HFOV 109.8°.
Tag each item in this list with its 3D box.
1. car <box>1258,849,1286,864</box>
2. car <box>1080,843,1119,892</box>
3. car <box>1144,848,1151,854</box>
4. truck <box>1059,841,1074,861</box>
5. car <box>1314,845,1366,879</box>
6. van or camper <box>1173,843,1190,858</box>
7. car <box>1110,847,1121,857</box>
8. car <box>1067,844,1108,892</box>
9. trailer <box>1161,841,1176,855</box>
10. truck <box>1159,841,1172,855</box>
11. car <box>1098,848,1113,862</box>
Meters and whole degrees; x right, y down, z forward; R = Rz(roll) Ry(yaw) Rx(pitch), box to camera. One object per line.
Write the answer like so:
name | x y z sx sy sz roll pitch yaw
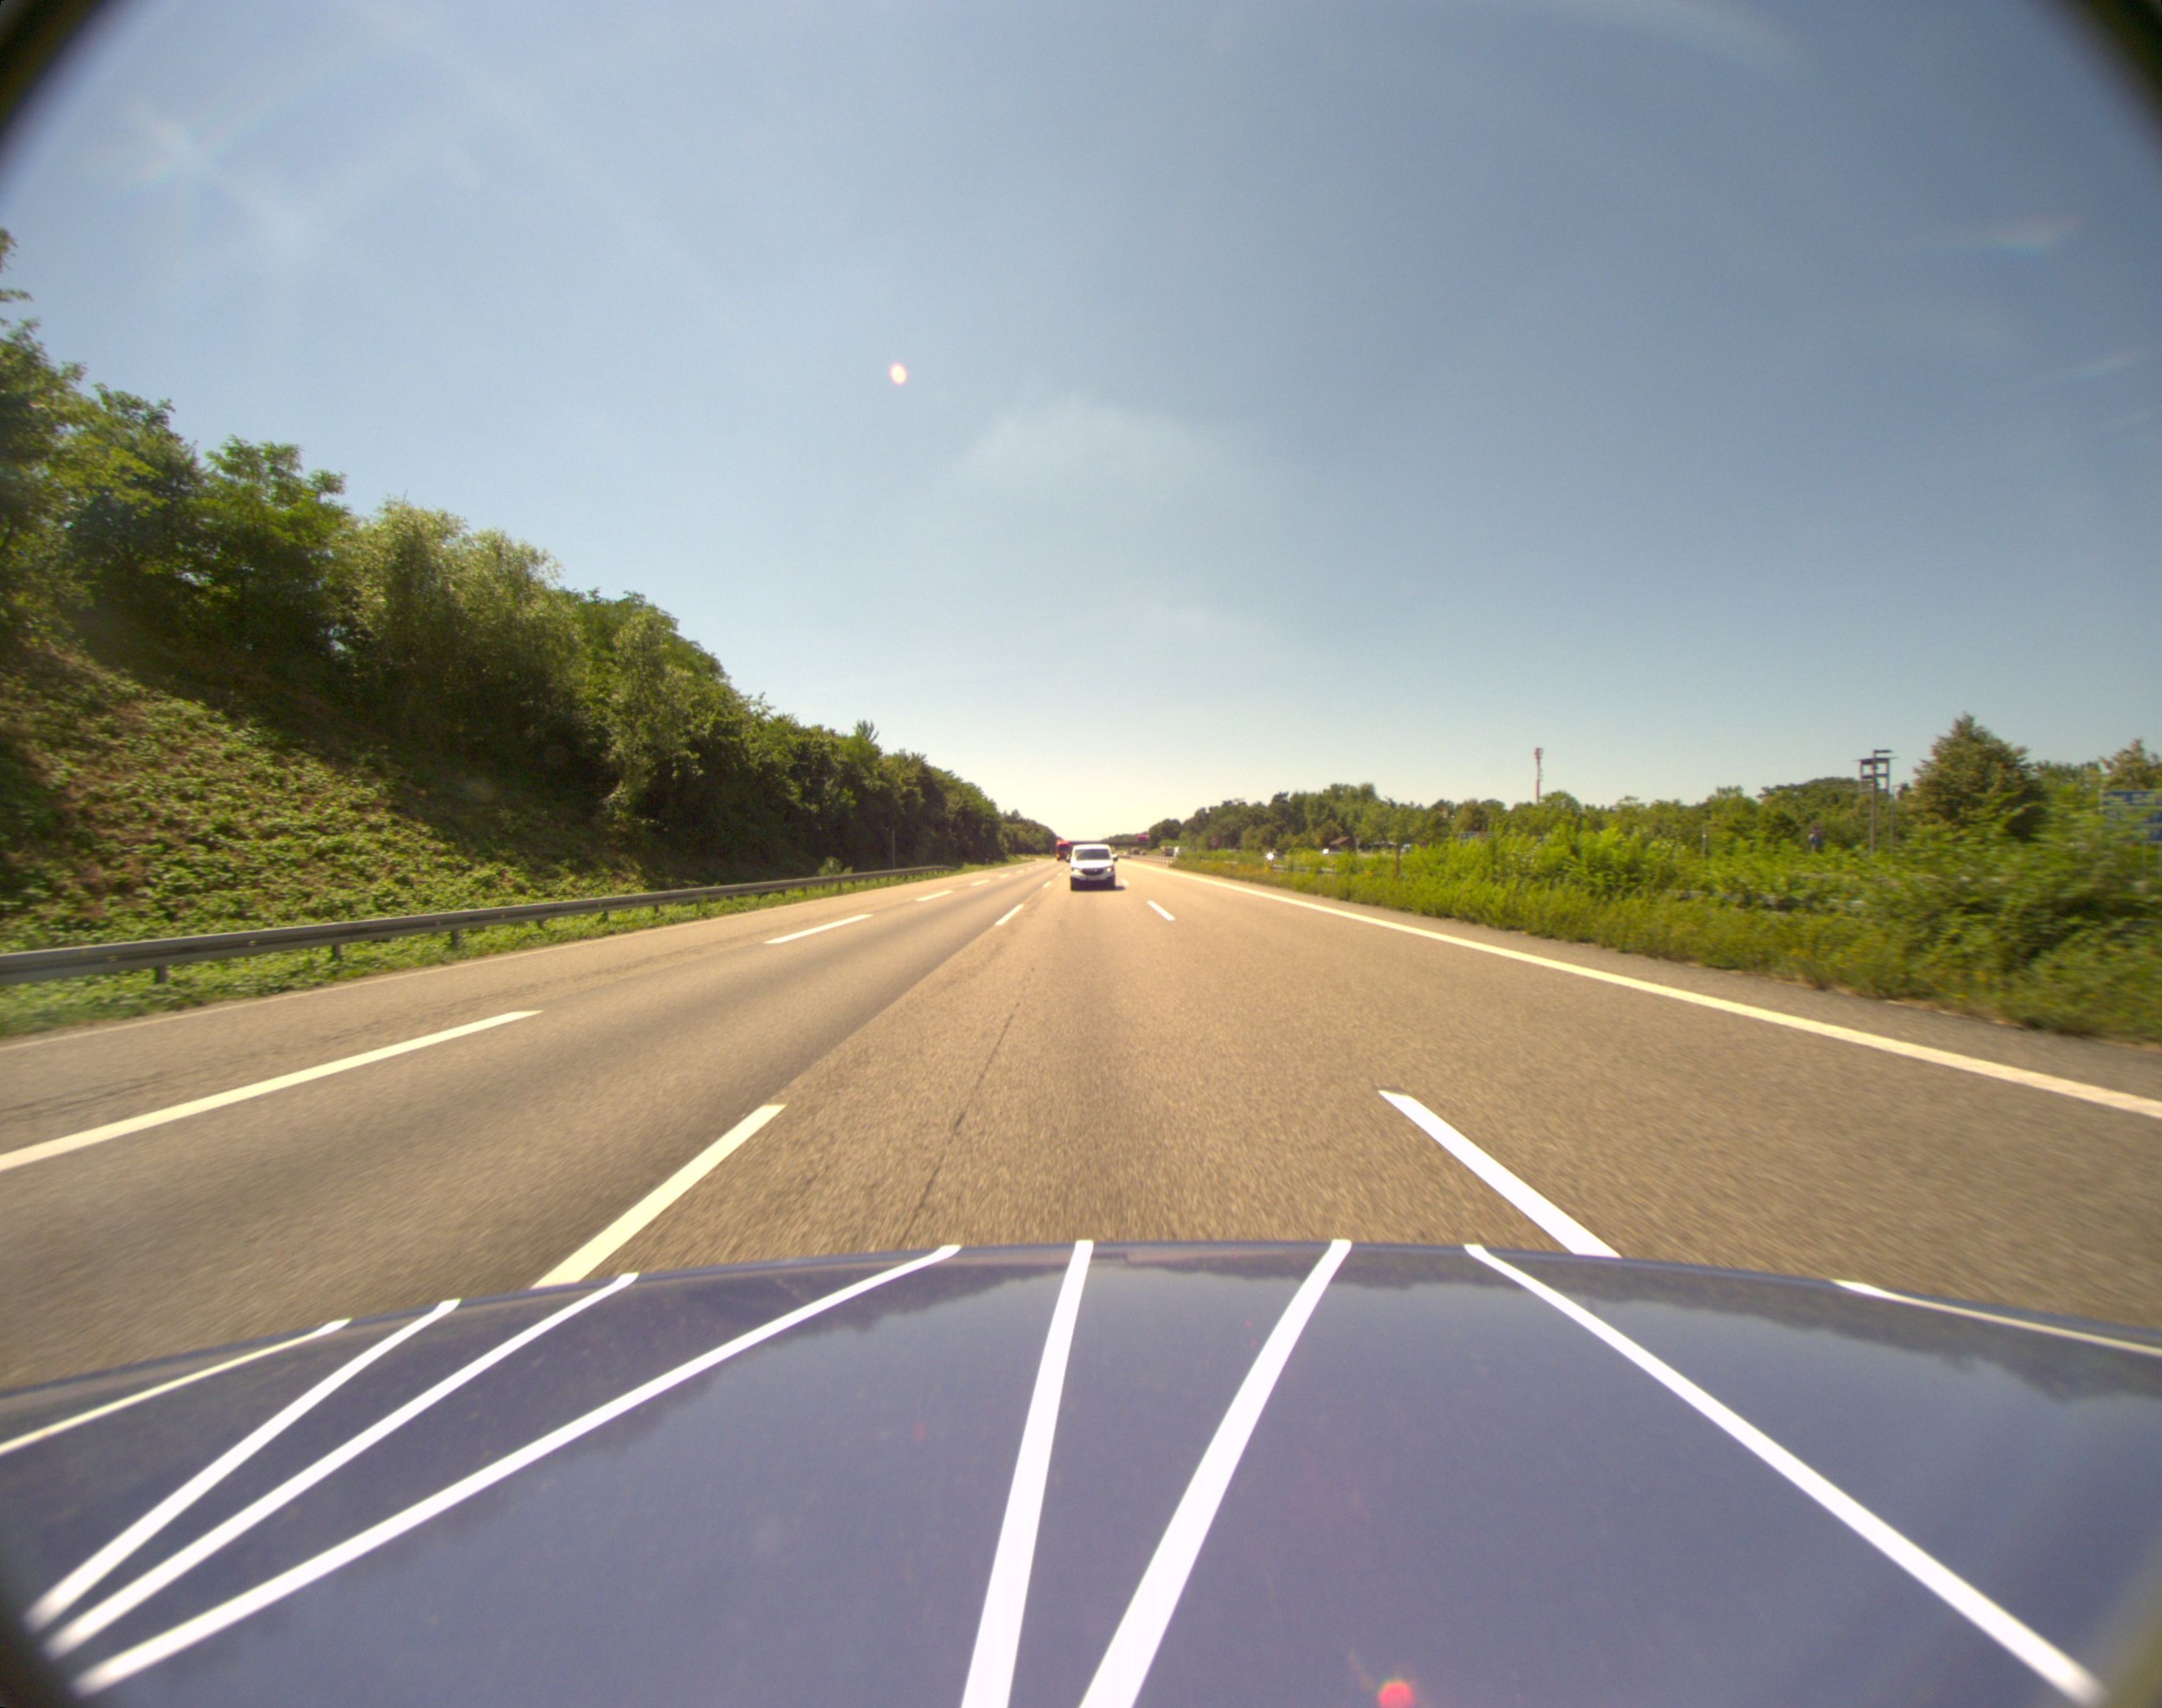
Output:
car | 18.260 0.234 72.784 1.546 1.416 3.852 1 1 -1
car | 0.706 0.489 30.411 1.413 1.795 3.200 -2 1 0
car | 19.605 -0.844 224.250 1.750 1.705 4.484 -2 1 0
truck | -2.654 -0.617 142.210 2.540 3.656 5.219 -2 1 2
car | 13.731 0.382 40.446 1.707 1.700 3.589 -2 1 4
van or camper | 18.933 -0.686 143.421 2.424 2.567 6.366 -2 1 0
car | 5.505 -0.319 121.628 1.775 1.410 3.401 -2 1 2
car | 0.262 0.513 30.628 1.501 1.799 3.393 -2 1 0
trailer | 22.913 -1.564 199.499 2.789 3.495 9.368 -2 1 -1
truck | 22.822 -1.624 204.986 2.789 3.495 5.645 -2 1 0
car | 2.783 0.048 86.412 1.586 1.497 3.793 -2 1 2
